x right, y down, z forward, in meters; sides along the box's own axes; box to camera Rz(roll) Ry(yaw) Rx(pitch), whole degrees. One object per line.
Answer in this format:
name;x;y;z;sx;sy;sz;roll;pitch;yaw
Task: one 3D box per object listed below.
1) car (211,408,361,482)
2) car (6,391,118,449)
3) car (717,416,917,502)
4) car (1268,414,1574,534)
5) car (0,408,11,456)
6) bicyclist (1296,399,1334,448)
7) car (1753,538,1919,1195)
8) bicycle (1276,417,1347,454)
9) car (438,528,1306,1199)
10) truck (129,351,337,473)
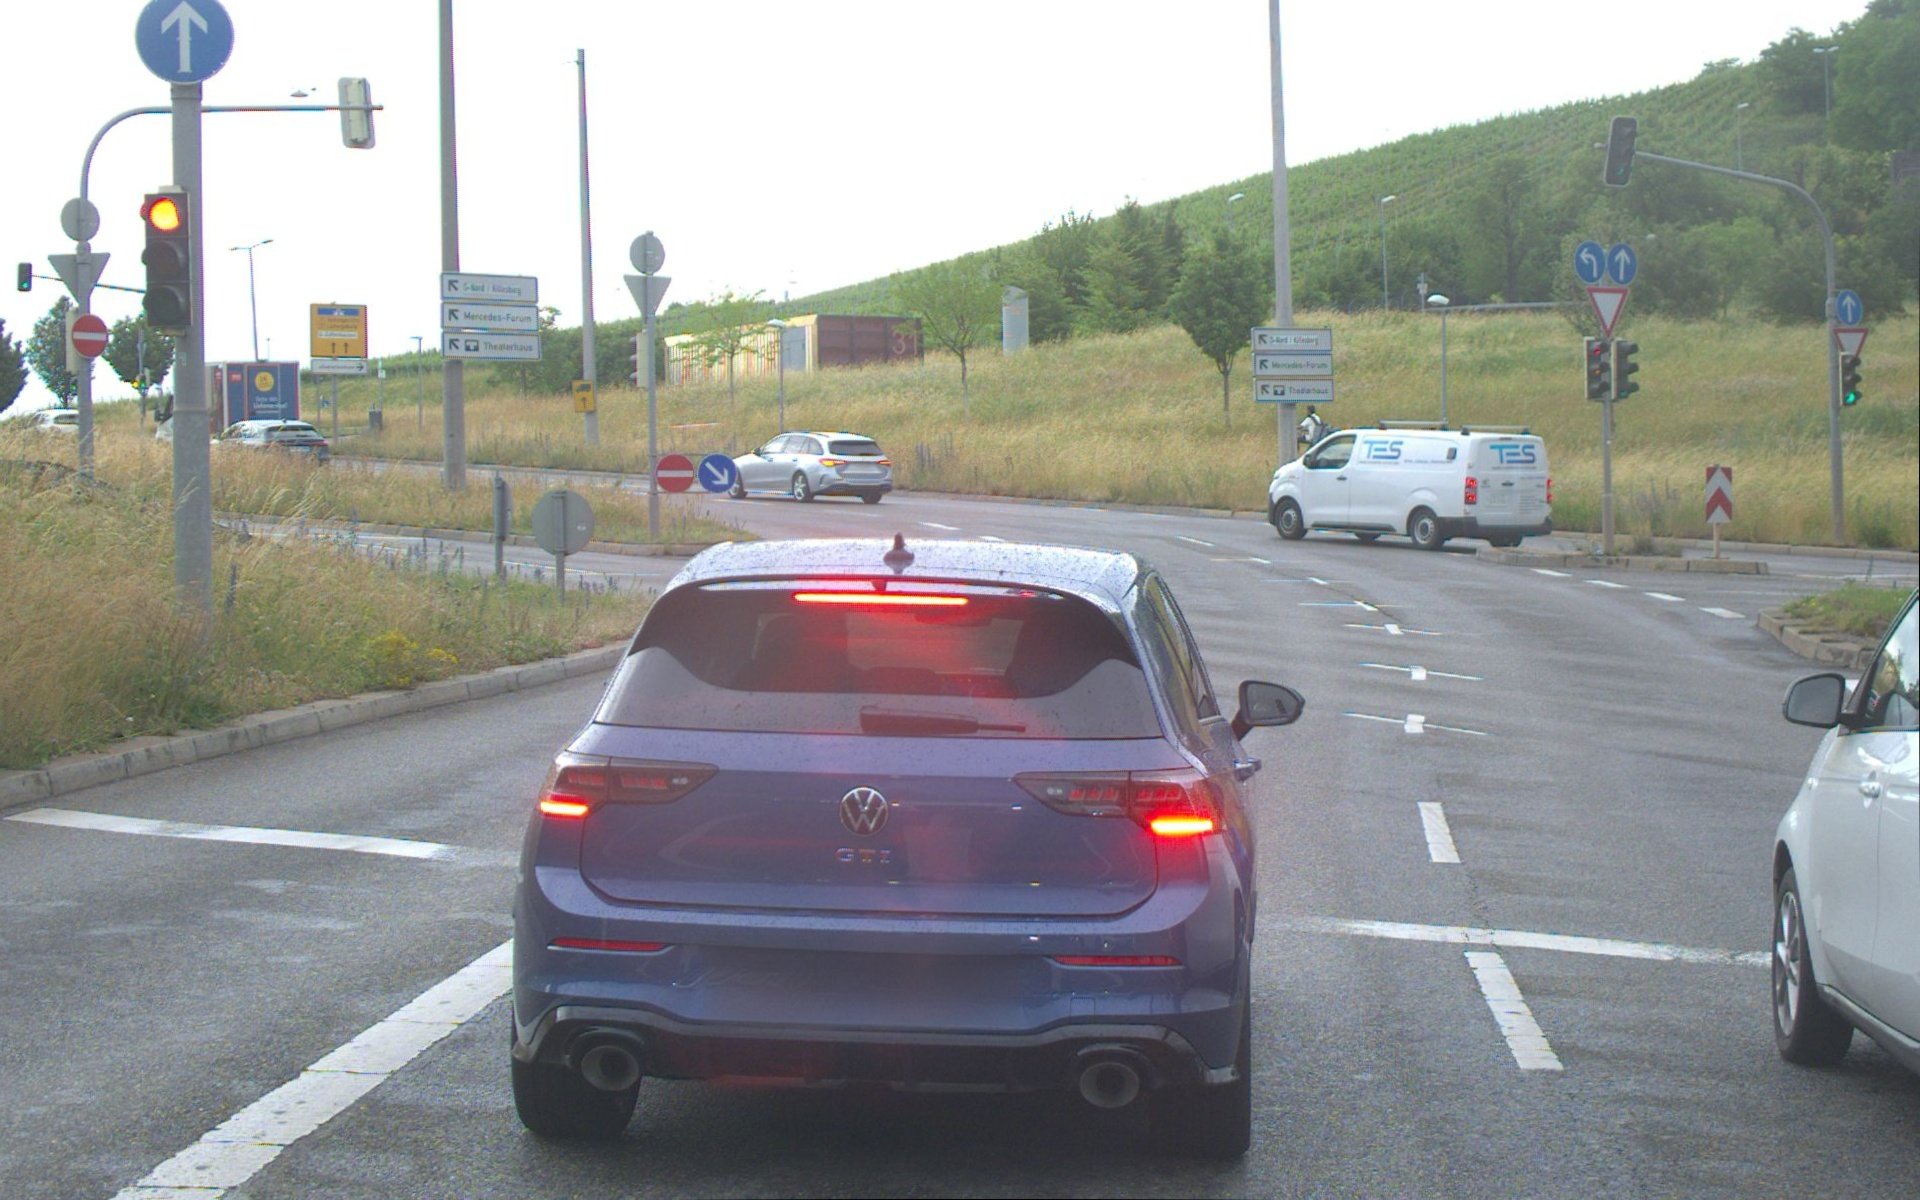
car;-16.415;-3.746;83.631;1.994;1.654;4.353;0;1;-35
car;-28.491;-5.684;109.002;1.994;1.654;4.544;0;1;-35
car;-2.991;-2.881;71.057;1.994;1.654;4.544;0;1;-35
car;7.274;-1.963;54.673;2.129;1.788;4.740;0;1;-36
car;-35.317;-5.952;122.079;1.993;1.654;4.545;0;1;-30
bicyclist;7.961;-3.961;77.130;0.523;1.043;0.580;2;2;-41
car;3.084;0.613;8.547;1.658;1.498;3.450;1;1;5
bicycle;7.883;-3.700;77.221;0.518;0.772;1.620;2;2;-41
car;-0.055;0.564;9.156;1.825;1.455;3.808;1;2;4
truck;-20.169;-5.220;95.108;3.258;3.064;6.176;2;2;-36
